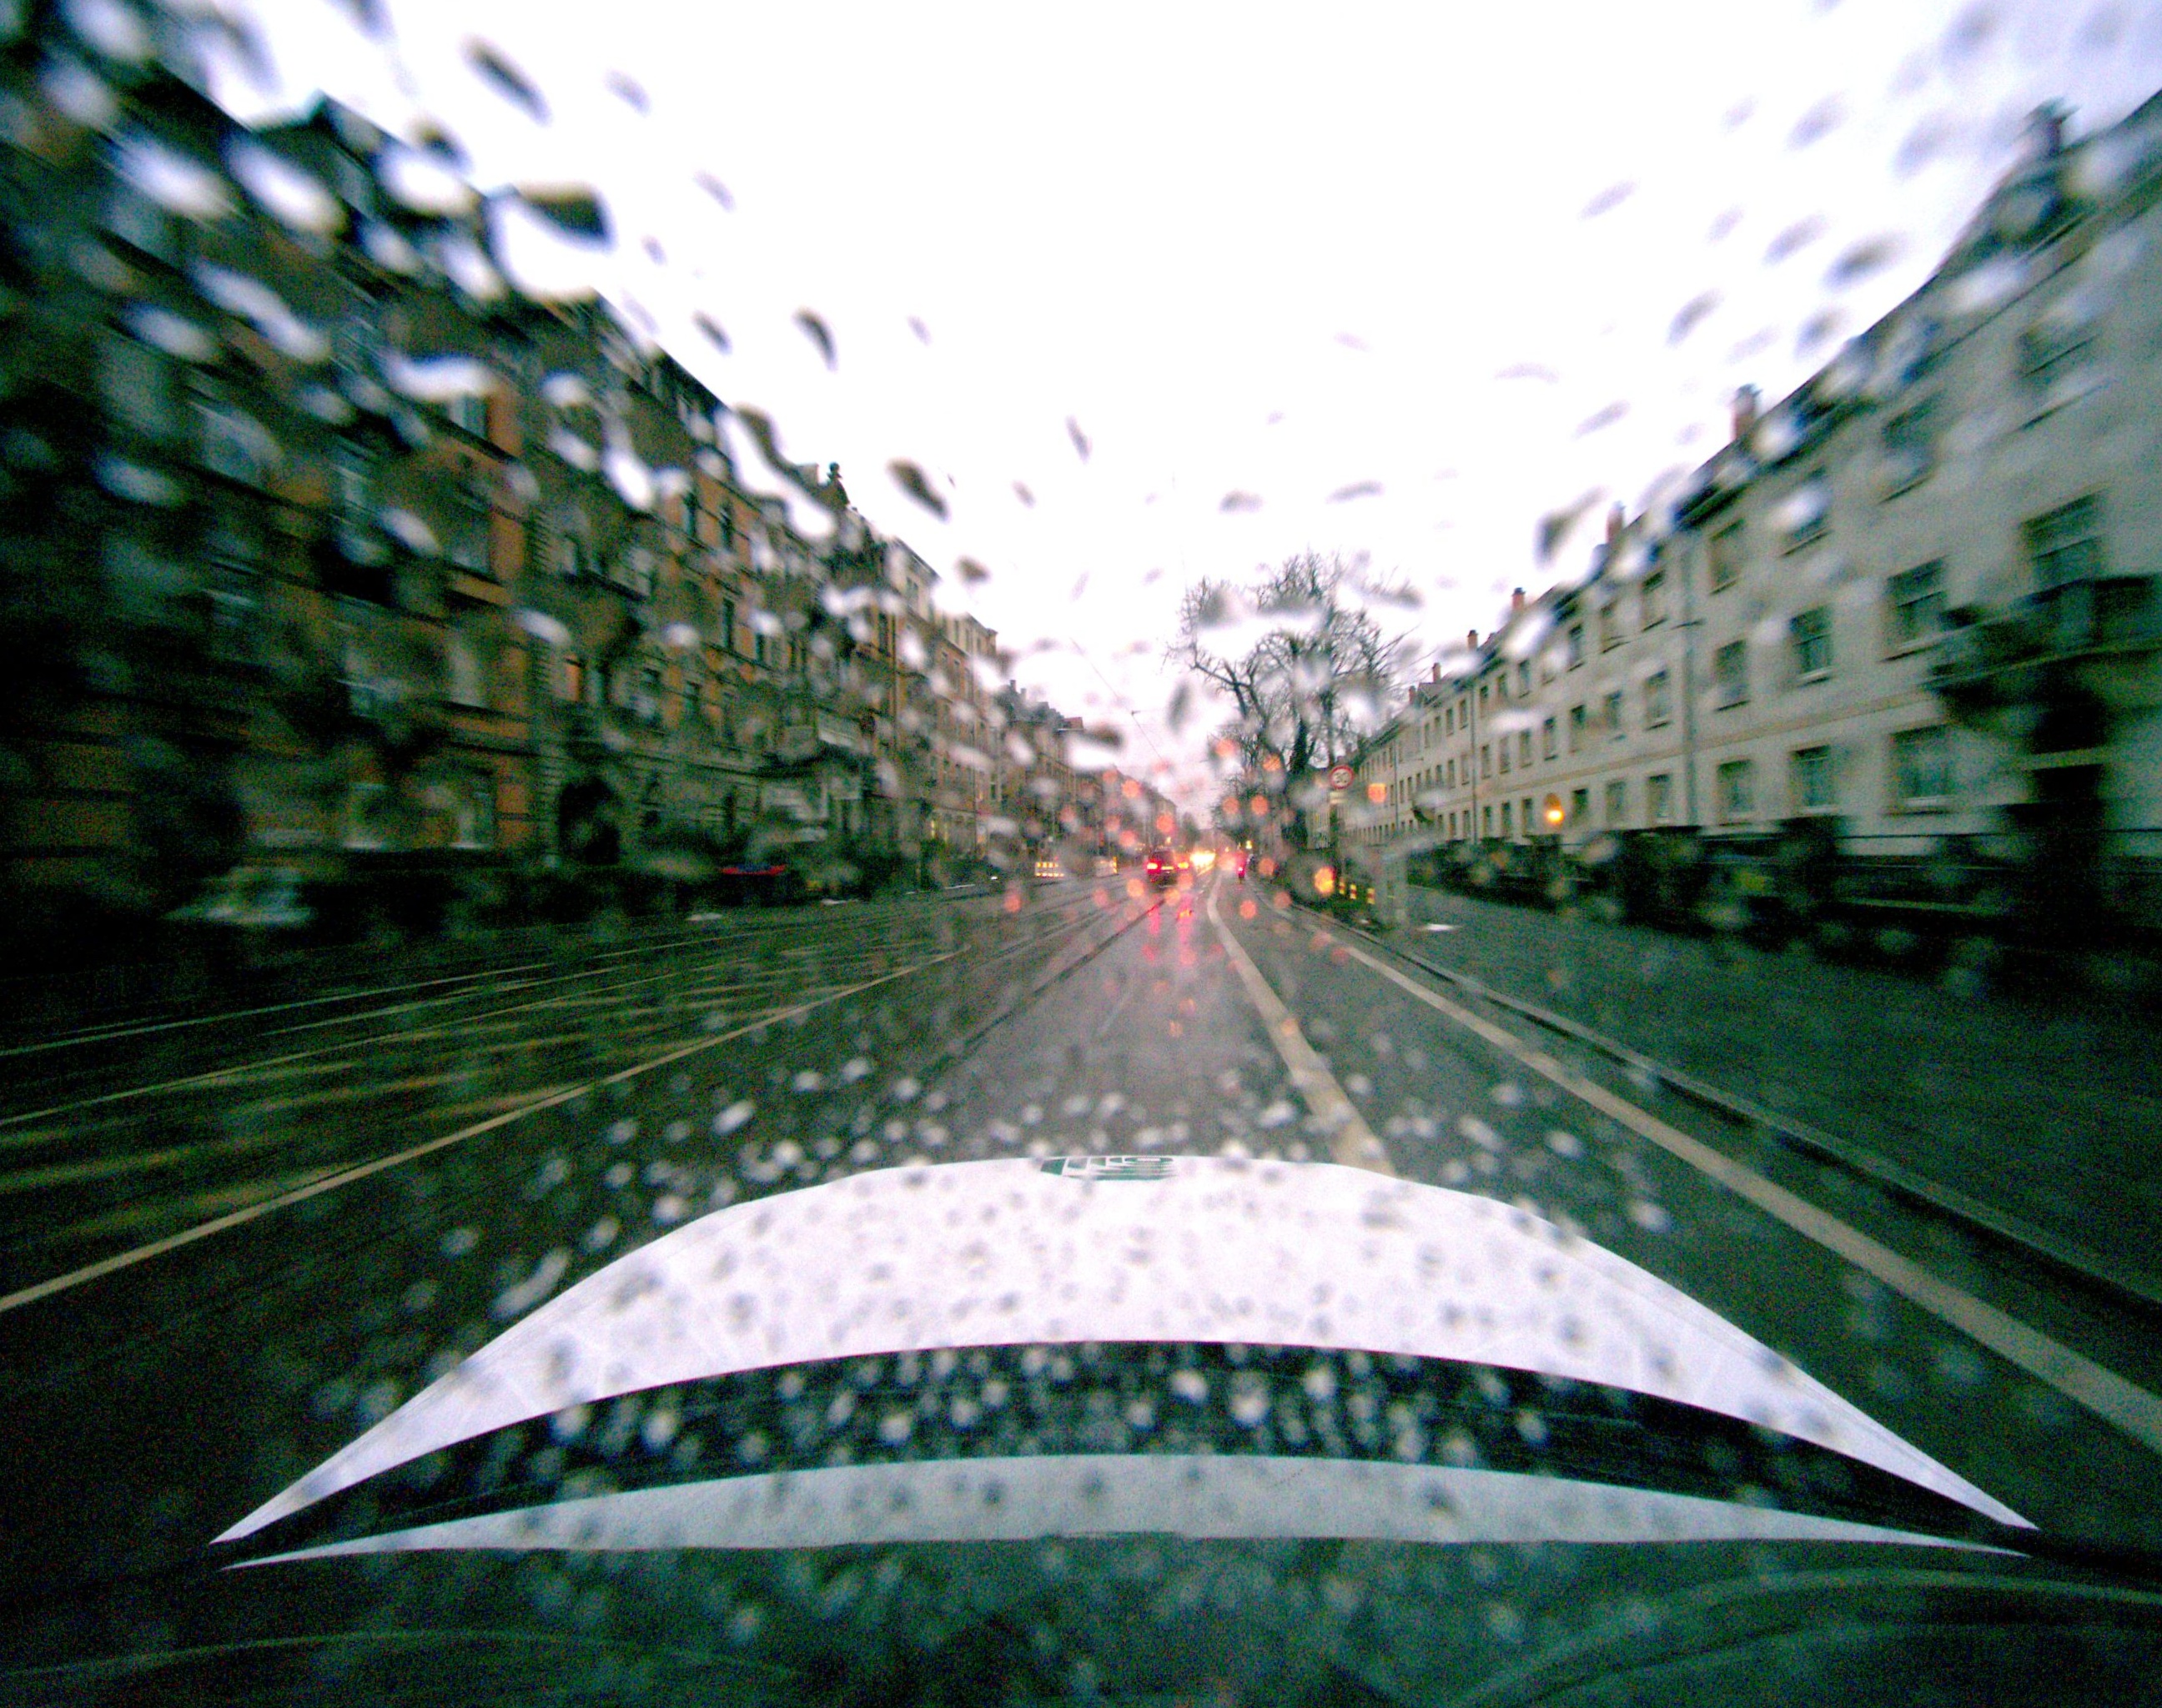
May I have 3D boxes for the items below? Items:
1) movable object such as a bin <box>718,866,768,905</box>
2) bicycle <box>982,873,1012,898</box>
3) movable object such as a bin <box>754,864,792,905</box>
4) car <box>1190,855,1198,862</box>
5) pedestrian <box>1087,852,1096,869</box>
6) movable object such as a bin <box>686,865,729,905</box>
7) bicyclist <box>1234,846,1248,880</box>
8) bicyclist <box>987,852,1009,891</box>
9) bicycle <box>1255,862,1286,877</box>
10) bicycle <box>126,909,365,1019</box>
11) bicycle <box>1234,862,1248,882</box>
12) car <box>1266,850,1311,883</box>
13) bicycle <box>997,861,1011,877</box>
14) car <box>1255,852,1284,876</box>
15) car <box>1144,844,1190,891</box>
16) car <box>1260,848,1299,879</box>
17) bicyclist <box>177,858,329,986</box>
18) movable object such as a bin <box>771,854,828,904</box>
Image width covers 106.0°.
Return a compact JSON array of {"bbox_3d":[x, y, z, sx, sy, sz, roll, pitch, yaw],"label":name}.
[{"bbox_3d":[-10.874,1.011,26.235,1.178,1.207,0.948,0,0,8],"label":"movable object such as a bin"},{"bbox_3d":[-3.437,1.280,33.619,0.674,0.972,1.939,-1,0,11],"label":"bicycle"},{"bbox_3d":[-9.821,0.970,25.977,0.890,1.292,0.748,0,0,8],"label":"movable object such as a bin"},{"bbox_3d":[28.649,1.128,205.875,1.912,1.720,4.011,-1,0,10],"label":"car"},{"bbox_3d":[1.129,0.712,86.966,0.722,1.773,0.763,0,-1,-28],"label":"pedestrian"},{"bbox_3d":[-12.090,0.989,26.363,1.004,1.244,0.775,0,0,8],"label":"movable object such as a bin"},{"bbox_3d":[8.326,0.460,42.328,0.726,1.736,0.768,-1,-1,11],"label":"bicyclist"},{"bbox_3d":[-3.430,0.712,33.737,0.679,1.616,0.768,-1,-1,11],"label":"bicyclist"},{"bbox_3d":[12.751,1.033,54.874,1.997,0.916,0.467,-2,0,19],"label":"bicycle"},{"bbox_3d":[-9.382,1.190,9.265,0.677,1.007,1.808,-1,0,11],"label":"bicycle"},{"bbox_3d":[8.318,0.942,42.298,0.726,1.007,1.769,-1,0,11],"label":"bicycle"},{"bbox_3d":[10.018,0.588,39.469,1.774,1.509,3.998,-1,0,10],"label":"car"},{"bbox_3d":[-4.581,0.873,48.481,0.261,0.915,1.690,5,1,10],"label":"bicycle"},{"bbox_3d":[13.581,0.685,58.840,1.893,1.610,4.575,-1,0,12],"label":"car"},{"bbox_3d":[3.809,0.544,35.473,1.792,1.871,4.027,2,0,8],"label":"car"},{"bbox_3d":[11.709,0.551,48.368,1.894,1.727,4.915,-1,0,10],"label":"car"},{"bbox_3d":[-9.379,0.733,9.258,0.700,1.364,0.947,1,0,11],"label":"bicyclist"},{"bbox_3d":[-9.214,0.786,26.740,1.235,1.586,1.313,0,0,15],"label":"movable object such as a bin"}]
